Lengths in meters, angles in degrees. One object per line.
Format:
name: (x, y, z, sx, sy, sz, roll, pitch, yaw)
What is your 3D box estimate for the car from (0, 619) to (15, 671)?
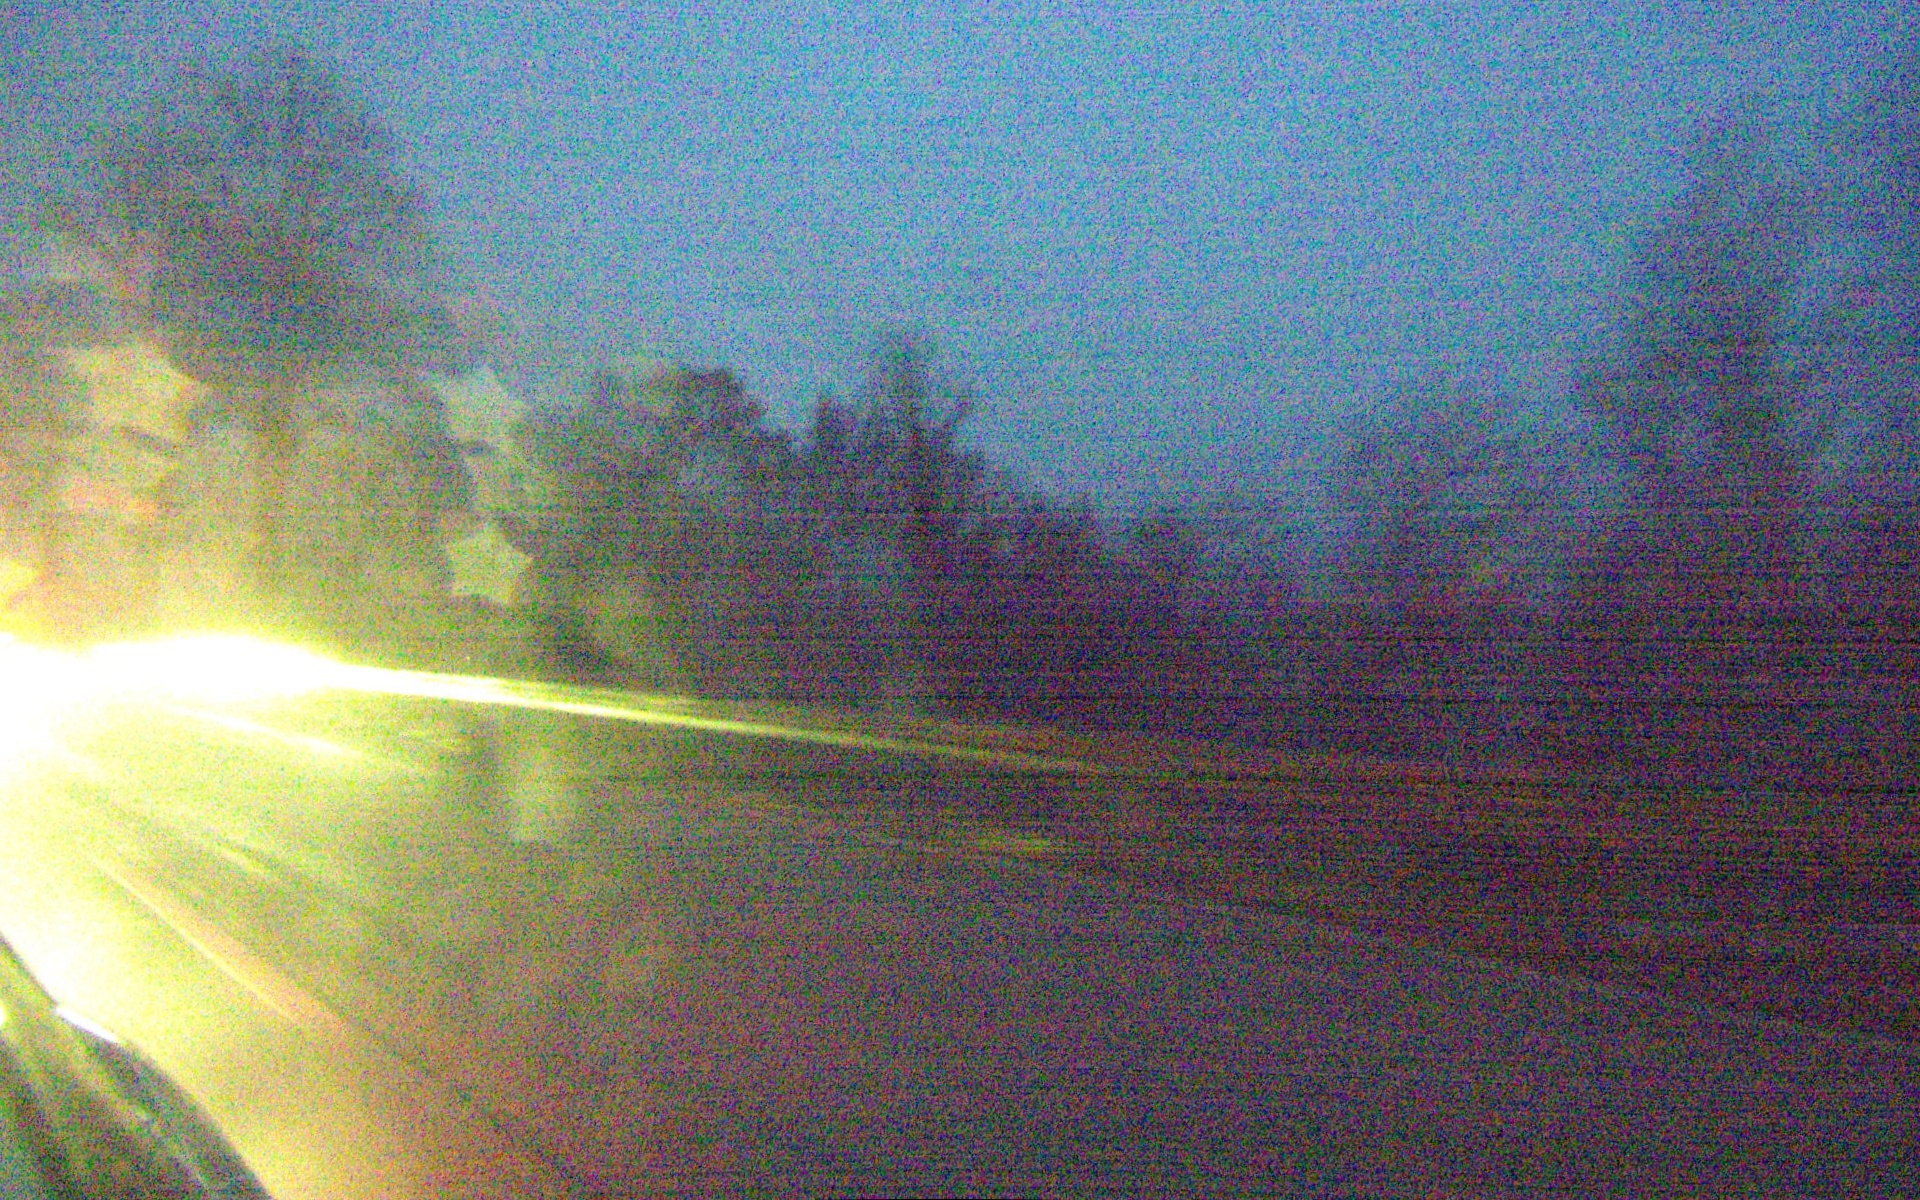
car: (-31.358, 1.425, 31.761, 4.450, 1.592, 1.783, -2, -3, 38)
